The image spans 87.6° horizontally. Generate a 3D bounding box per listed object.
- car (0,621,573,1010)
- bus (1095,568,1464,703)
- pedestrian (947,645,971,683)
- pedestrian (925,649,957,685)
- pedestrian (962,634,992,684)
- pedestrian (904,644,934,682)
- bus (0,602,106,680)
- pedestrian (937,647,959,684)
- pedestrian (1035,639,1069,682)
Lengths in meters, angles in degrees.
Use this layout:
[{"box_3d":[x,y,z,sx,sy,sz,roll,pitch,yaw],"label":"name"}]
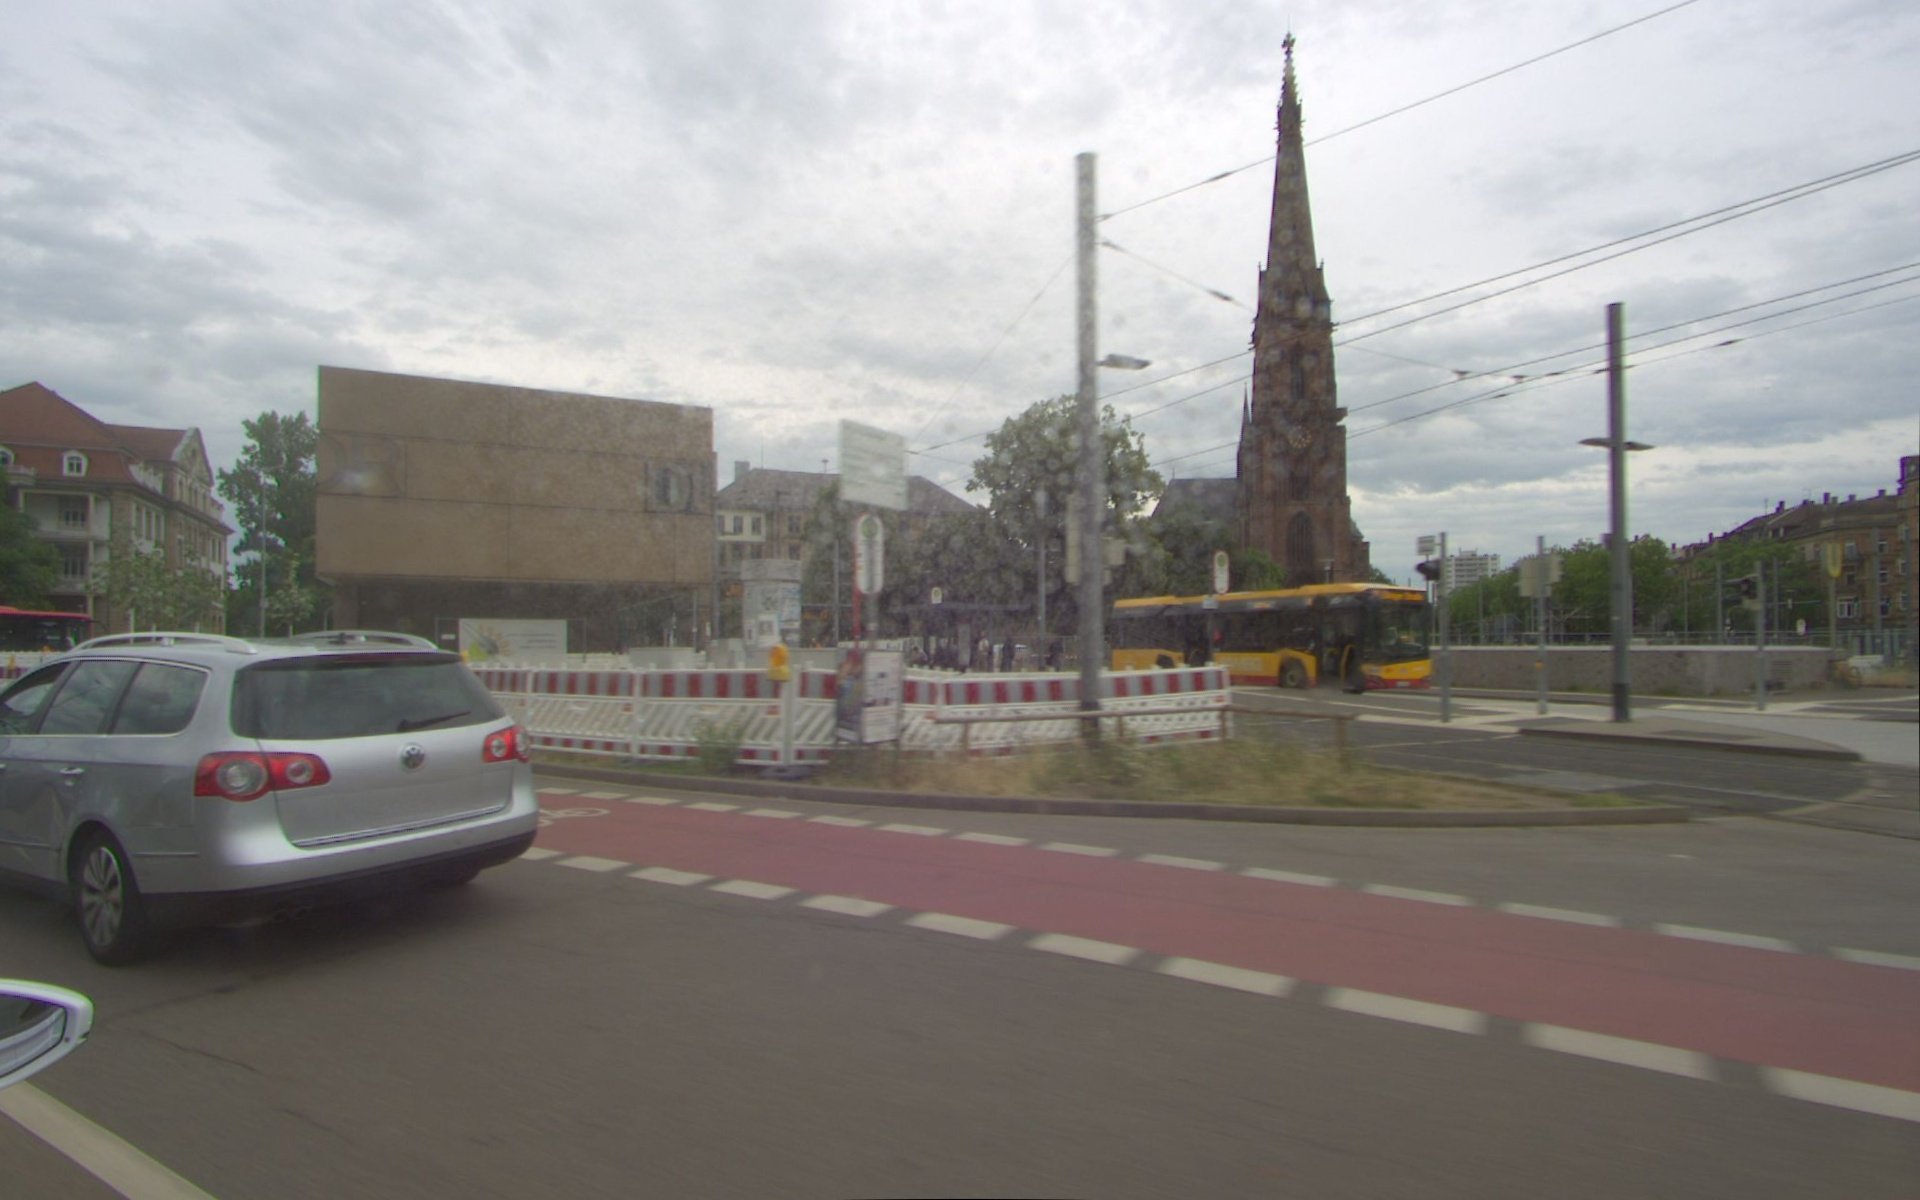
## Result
[{"box_3d":[-4.468,0.924,5.777,4.560,1.501,1.719,-2,-2,30],"label":"car"},{"box_3d":[8.941,1.269,31.097,2.978,3.308,13.004,1,-4,-24],"label":"bus"},{"box_3d":[-0.038,2.834,44.424,0.772,1.665,0.918,1,-3,-21],"label":"pedestrian"},{"box_3d":[-0.776,2.699,40.532,1.004,1.420,1.005,1,-3,-21],"label":"pedestrian"},{"box_3d":[0.635,2.216,37.690,0.812,1.831,1.019,1,-3,-21],"label":"pedestrian"},{"box_3d":[-1.753,2.678,42.522,1.004,1.595,1.005,1,-3,-22],"label":"pedestrian"},{"box_3d":[-42.400,1.716,42.187,3.009,3.337,12.389,0,-4,-5],"label":"bus"},{"box_3d":[-0.546,2.997,45.758,0.780,1.665,0.799,1,-2,-21],"label":"pedestrian"},{"box_3d":[3.664,2.409,39.734,0.991,1.665,1.019,1,-3,-21],"label":"pedestrian"}]
